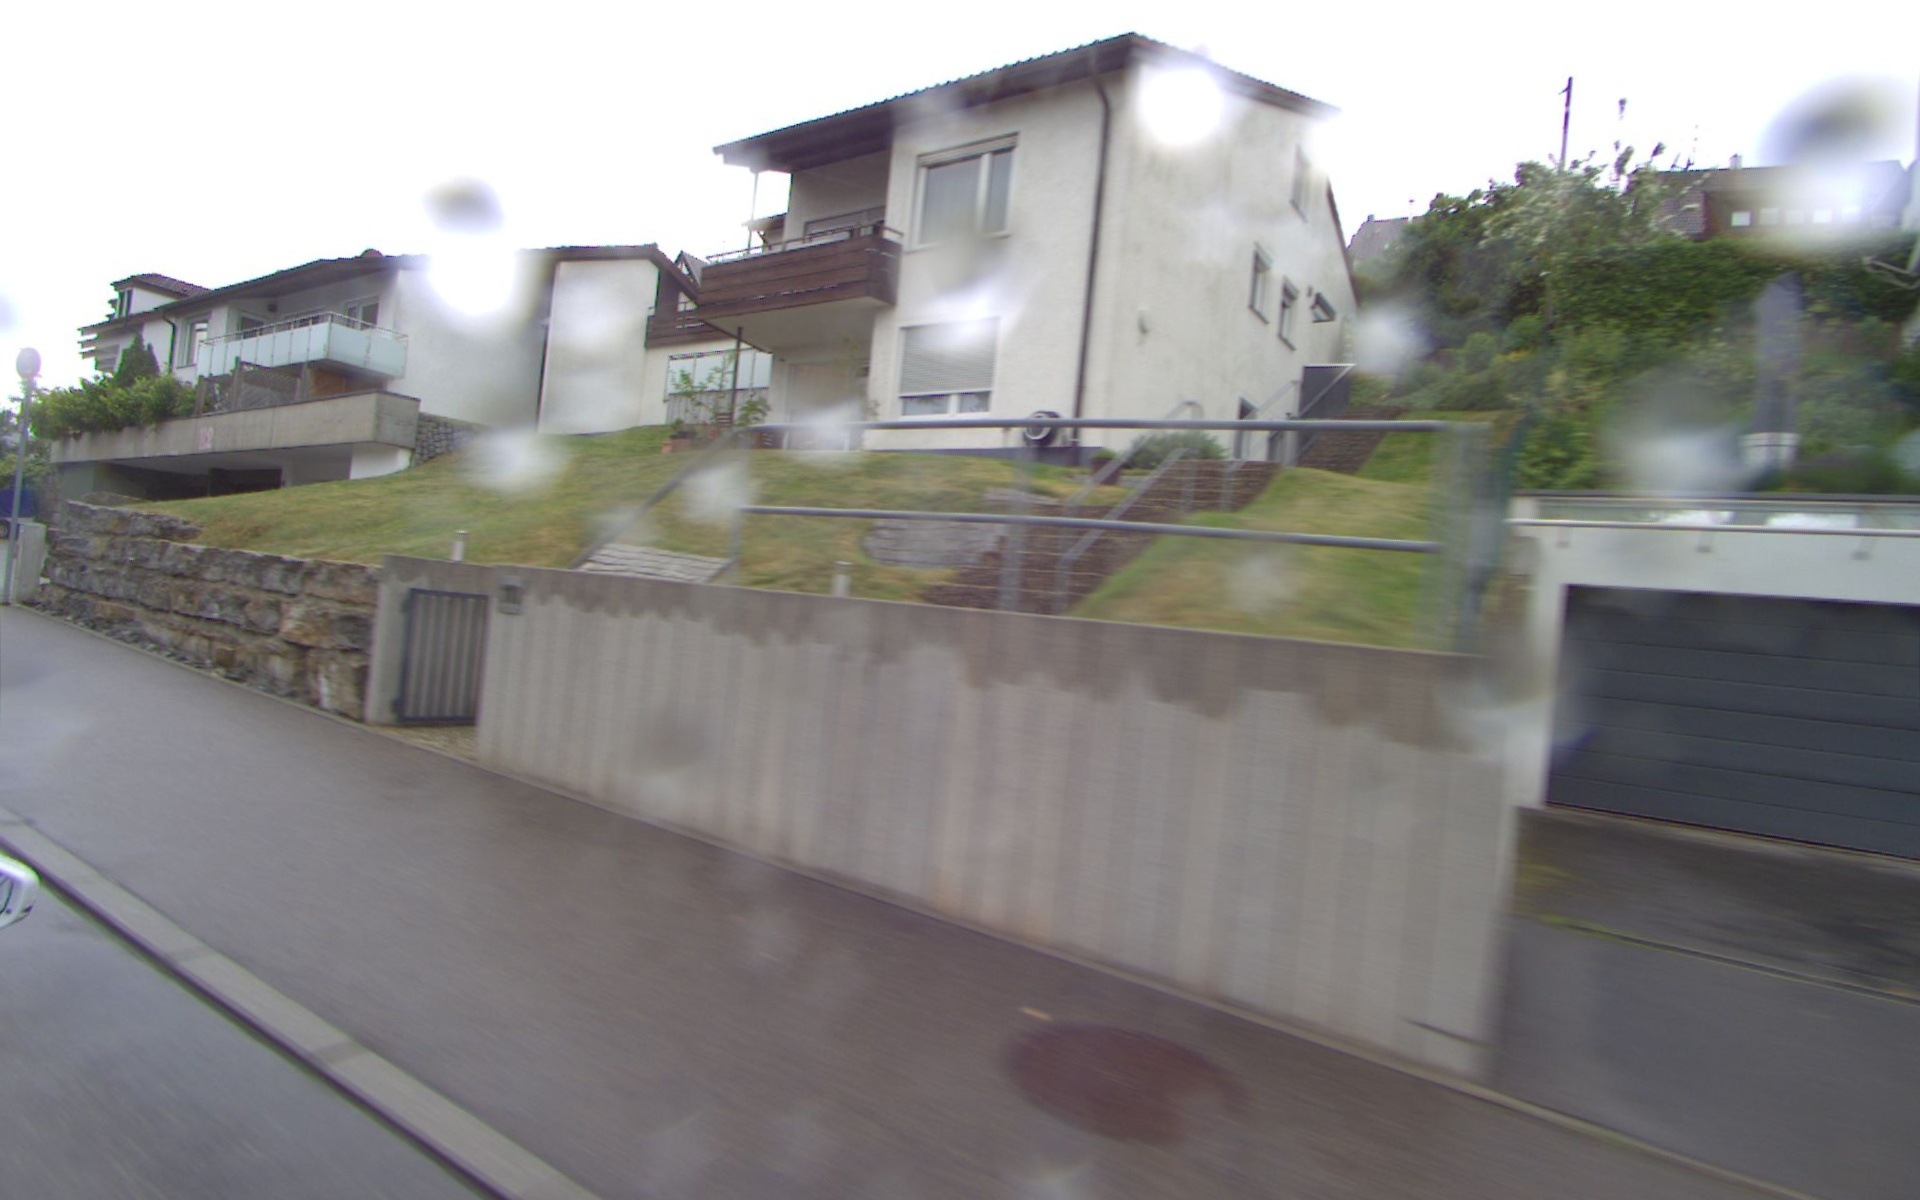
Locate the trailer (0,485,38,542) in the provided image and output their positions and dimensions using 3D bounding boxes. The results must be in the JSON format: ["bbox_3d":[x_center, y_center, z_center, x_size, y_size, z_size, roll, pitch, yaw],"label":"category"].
[{"bbox_3d":[-32.346,-2.987,33.409,1.974,1.769,2.348,7,0,44],"label":"trailer"}]
